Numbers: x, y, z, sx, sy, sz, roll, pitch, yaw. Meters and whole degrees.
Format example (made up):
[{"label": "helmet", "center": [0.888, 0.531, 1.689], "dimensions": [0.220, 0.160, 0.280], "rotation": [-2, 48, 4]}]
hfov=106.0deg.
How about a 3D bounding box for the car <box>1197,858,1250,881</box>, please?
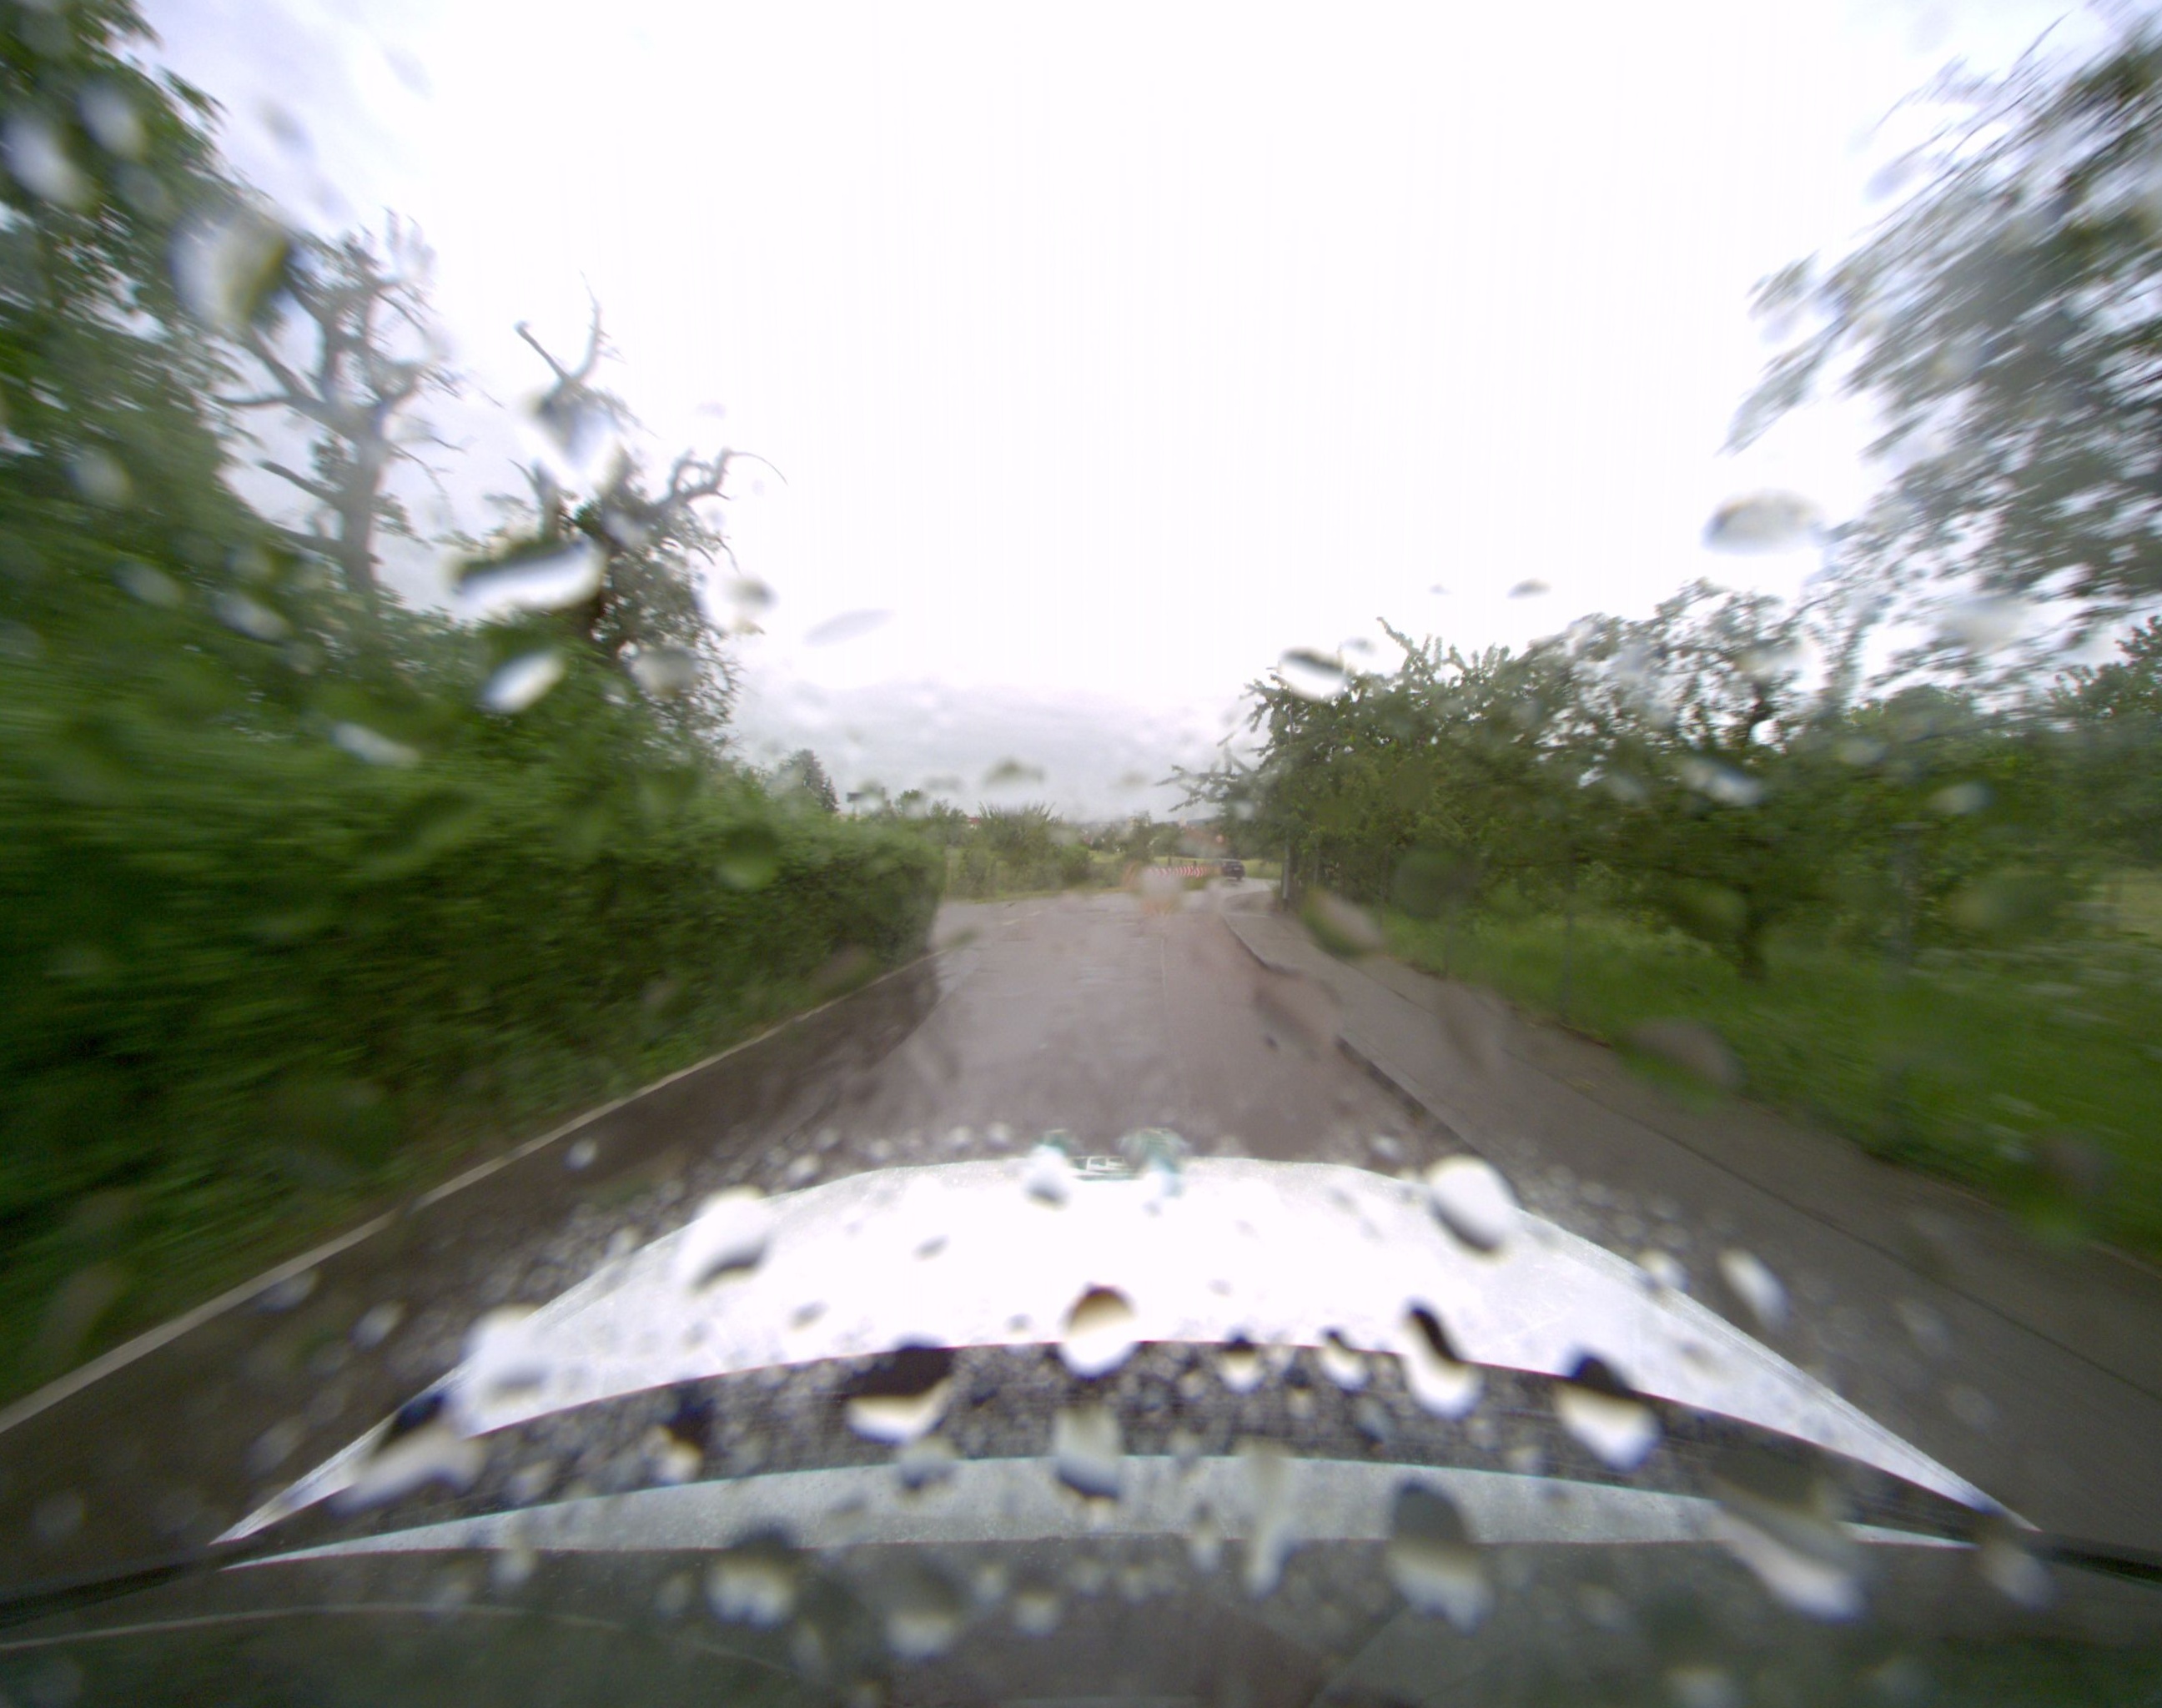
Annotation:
[{"label": "car", "center": [10.318, 1.121, 59.212], "dimensions": [1.824, 1.594, 3.966], "rotation": [1, -1, -26]}]
